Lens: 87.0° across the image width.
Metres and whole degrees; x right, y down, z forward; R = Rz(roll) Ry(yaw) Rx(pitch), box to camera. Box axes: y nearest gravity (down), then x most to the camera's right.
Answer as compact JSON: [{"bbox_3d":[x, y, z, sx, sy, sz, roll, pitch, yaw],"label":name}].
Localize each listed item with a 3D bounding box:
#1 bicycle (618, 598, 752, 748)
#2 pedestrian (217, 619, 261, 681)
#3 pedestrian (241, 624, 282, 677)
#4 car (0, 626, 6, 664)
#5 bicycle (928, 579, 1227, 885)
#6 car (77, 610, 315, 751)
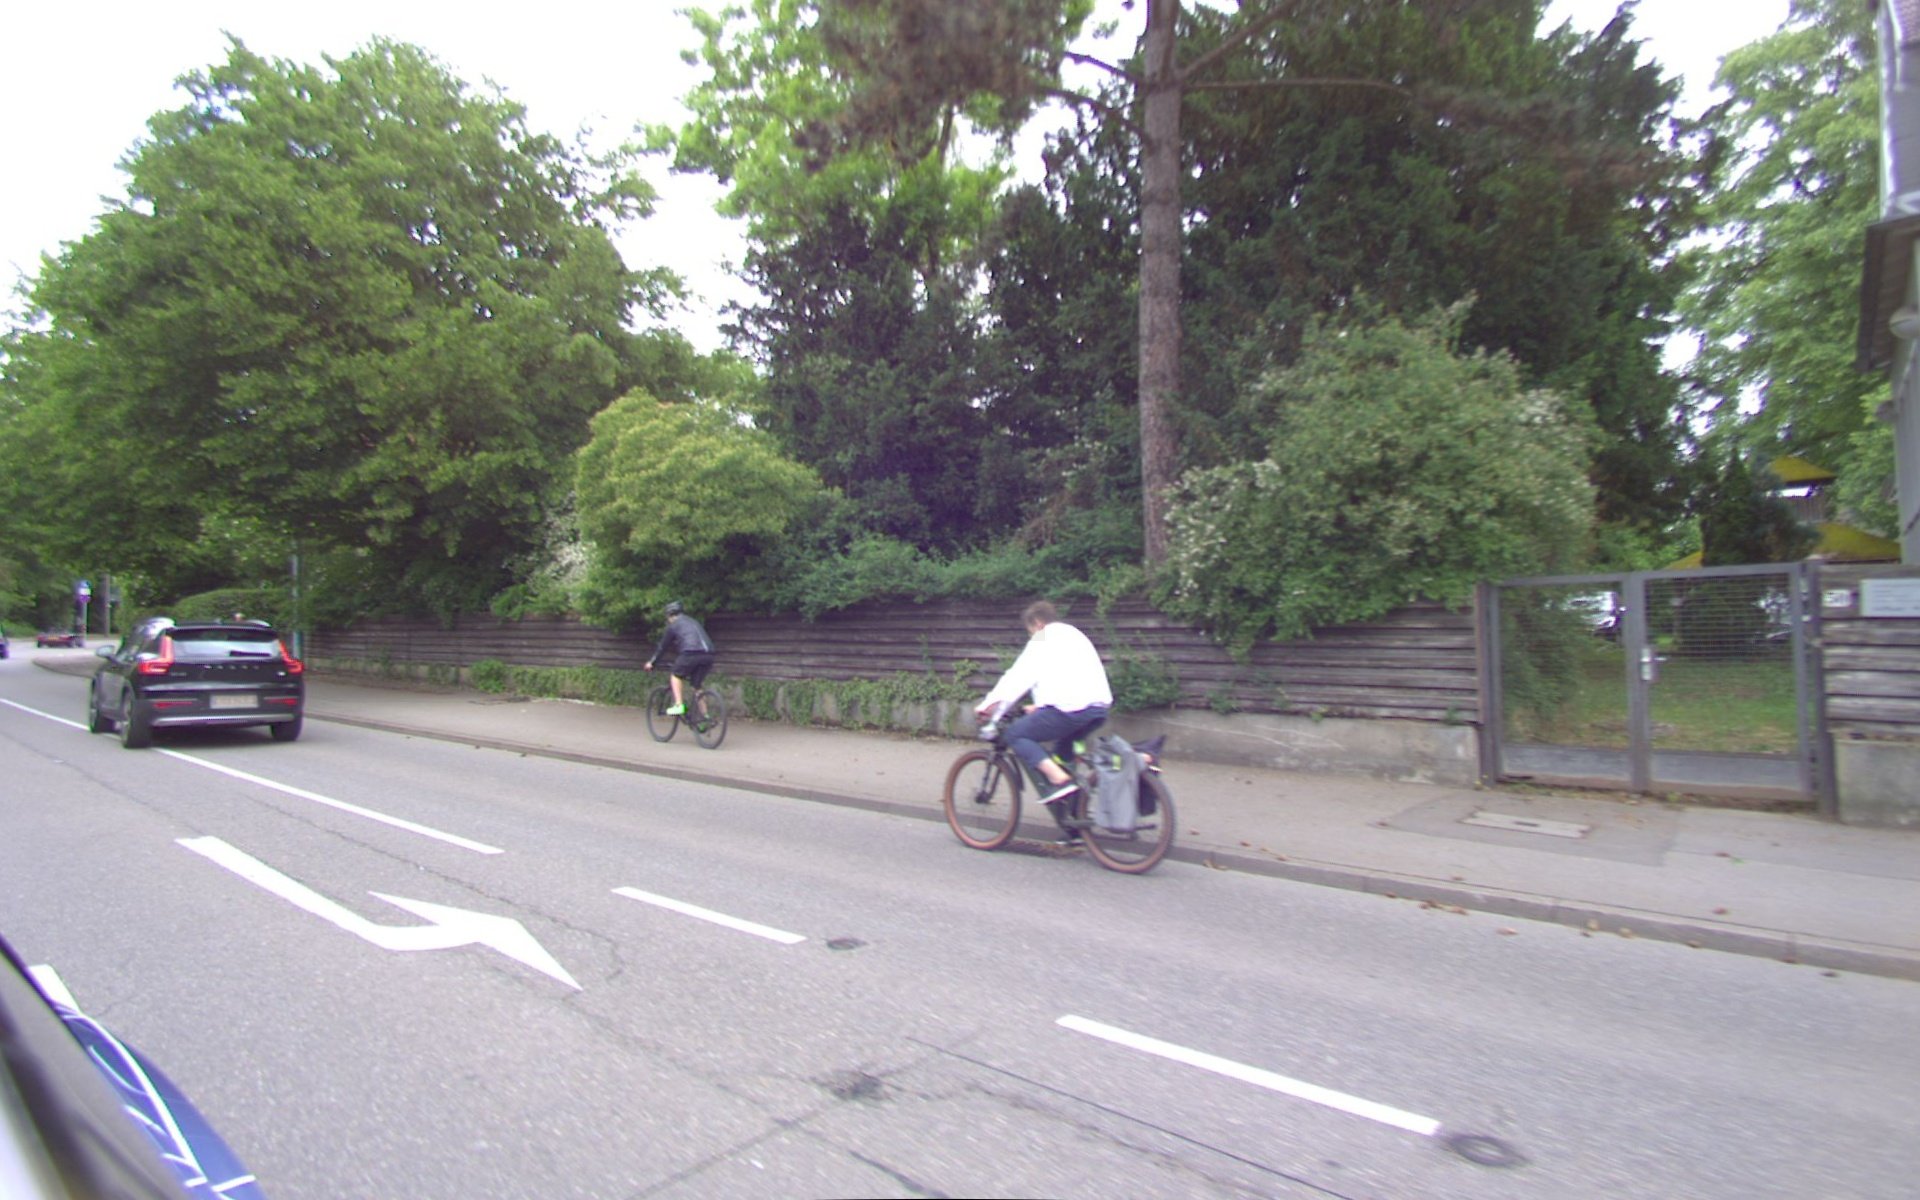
[{"bbox_3d":[-3.378,0.839,12.324,1.979,1.689,0.556,-1,-1,41],"label":"bicycle"},{"bbox_3d":[-19.842,1.362,27.836,0.915,1.674,0.624,0,-1,28],"label":"pedestrian"},{"bbox_3d":[-19.826,1.428,28.716,0.754,1.460,0.665,-1,-2,28],"label":"pedestrian"},{"bbox_3d":[-40.487,1.817,41.617,1.700,1.483,3.533,4,-3,-44],"label":"car"},{"bbox_3d":[0.741,0.781,6.738,1.870,1.758,0.751,-1,-3,41],"label":"bicycle"},{"bbox_3d":[-10.606,0.993,13.937,4.282,1.643,1.812,-1,-3,42],"label":"car"}]
